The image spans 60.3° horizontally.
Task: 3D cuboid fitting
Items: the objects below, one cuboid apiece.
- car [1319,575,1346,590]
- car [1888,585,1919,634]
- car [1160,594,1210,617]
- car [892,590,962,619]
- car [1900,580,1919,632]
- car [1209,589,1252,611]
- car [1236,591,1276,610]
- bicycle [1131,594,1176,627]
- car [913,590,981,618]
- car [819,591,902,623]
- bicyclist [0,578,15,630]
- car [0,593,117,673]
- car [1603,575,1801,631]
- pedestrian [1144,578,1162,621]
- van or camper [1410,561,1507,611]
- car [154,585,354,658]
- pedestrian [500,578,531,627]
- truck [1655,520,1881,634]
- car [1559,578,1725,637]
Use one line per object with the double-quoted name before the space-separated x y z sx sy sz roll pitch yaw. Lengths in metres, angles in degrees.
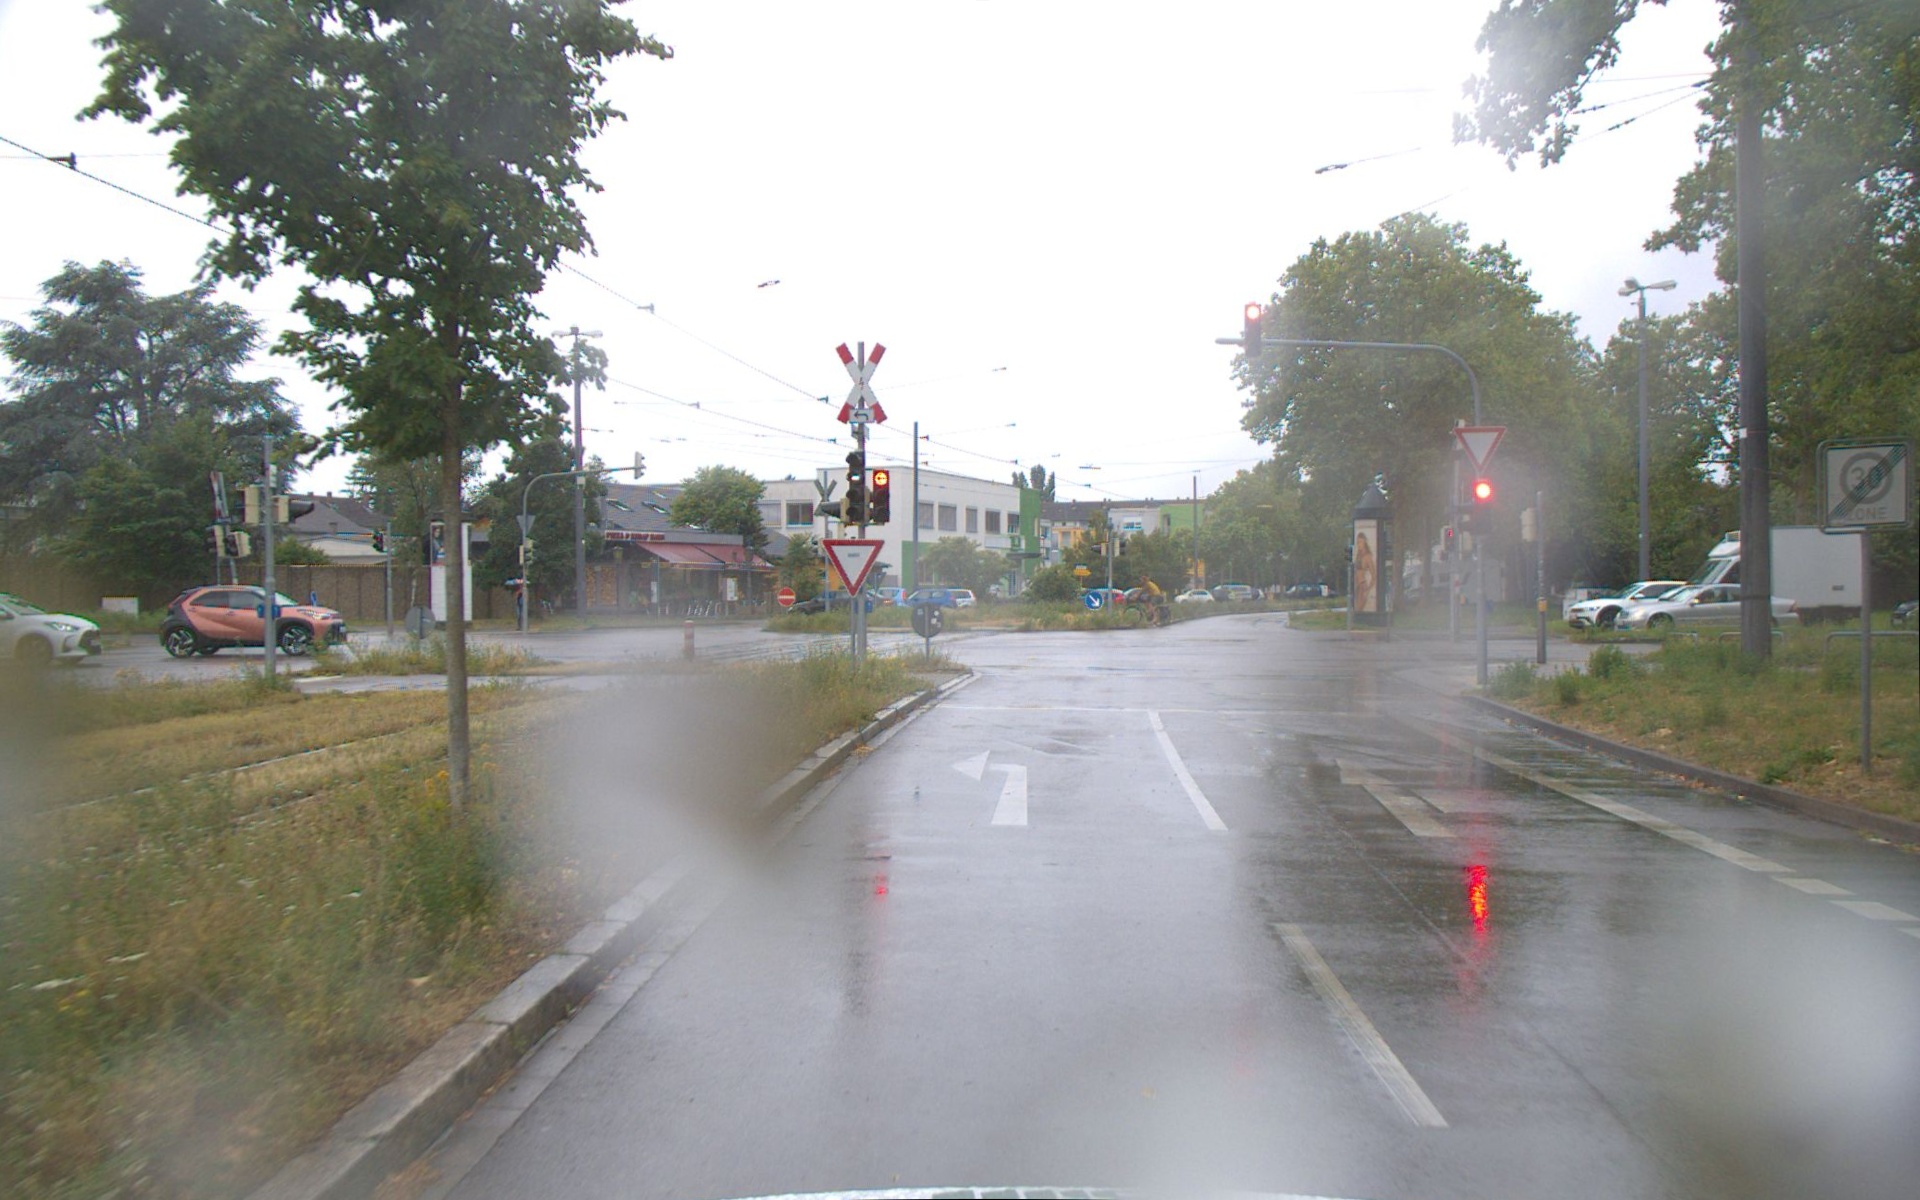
"car" 51.037 -2.419 226.487 3.372 2.049 1.808 -1 0 20
"car" 30.640 0.267 50.053 4.113 1.447 1.766 0 0 2
"car" 19.395 0.458 142.795 4.051 1.892 1.673 -1 0 -1
"car" -1.754 0.235 87.300 3.675 1.467 1.761 -1 0 -3
"car" 28.532 0.156 45.843 4.026 1.414 1.644 0 0 -1
"car" 26.220 -0.017 160.314 4.046 2.010 1.675 -1 0 10
"car" 30.294 0.072 169.321 4.046 1.892 1.675 -1 0 10
"bicycle" 6.791 0.355 58.084 1.529 1.121 0.500 -1 0 0
"car" -0.722 0.205 90.533 3.675 1.467 1.761 -1 0 -3
"car" -4.742 0.312 79.043 3.670 1.467 1.764 -1 0 6
"bicyclist" -31.684 0.132 54.553 0.670 1.712 0.642 -1 -1 -1
"car" -19.116 0.653 32.736 3.987 1.525 1.650 -1 0 -6
"car" 19.234 0.073 42.990 4.420 1.414 1.644 0 0 -1
"pedestrian" 6.765 -0.005 58.092 0.564 1.501 0.500 -1 0 0
"van or camper" 28.661 -0.812 95.142 5.114 2.744 2.243 2 1 22
"car" -15.627 0.463 36.758 3.746 1.525 1.649 -1 0 -8
"pedestrian" -16.478 0.077 61.293 0.796 1.794 0.895 -1 0 -41
"truck" 22.496 -0.626 46.170 5.356 3.112 1.981 0 0 -1
"car" 20.621 0.219 50.096 4.371 1.685 1.651 -1 0 -3
